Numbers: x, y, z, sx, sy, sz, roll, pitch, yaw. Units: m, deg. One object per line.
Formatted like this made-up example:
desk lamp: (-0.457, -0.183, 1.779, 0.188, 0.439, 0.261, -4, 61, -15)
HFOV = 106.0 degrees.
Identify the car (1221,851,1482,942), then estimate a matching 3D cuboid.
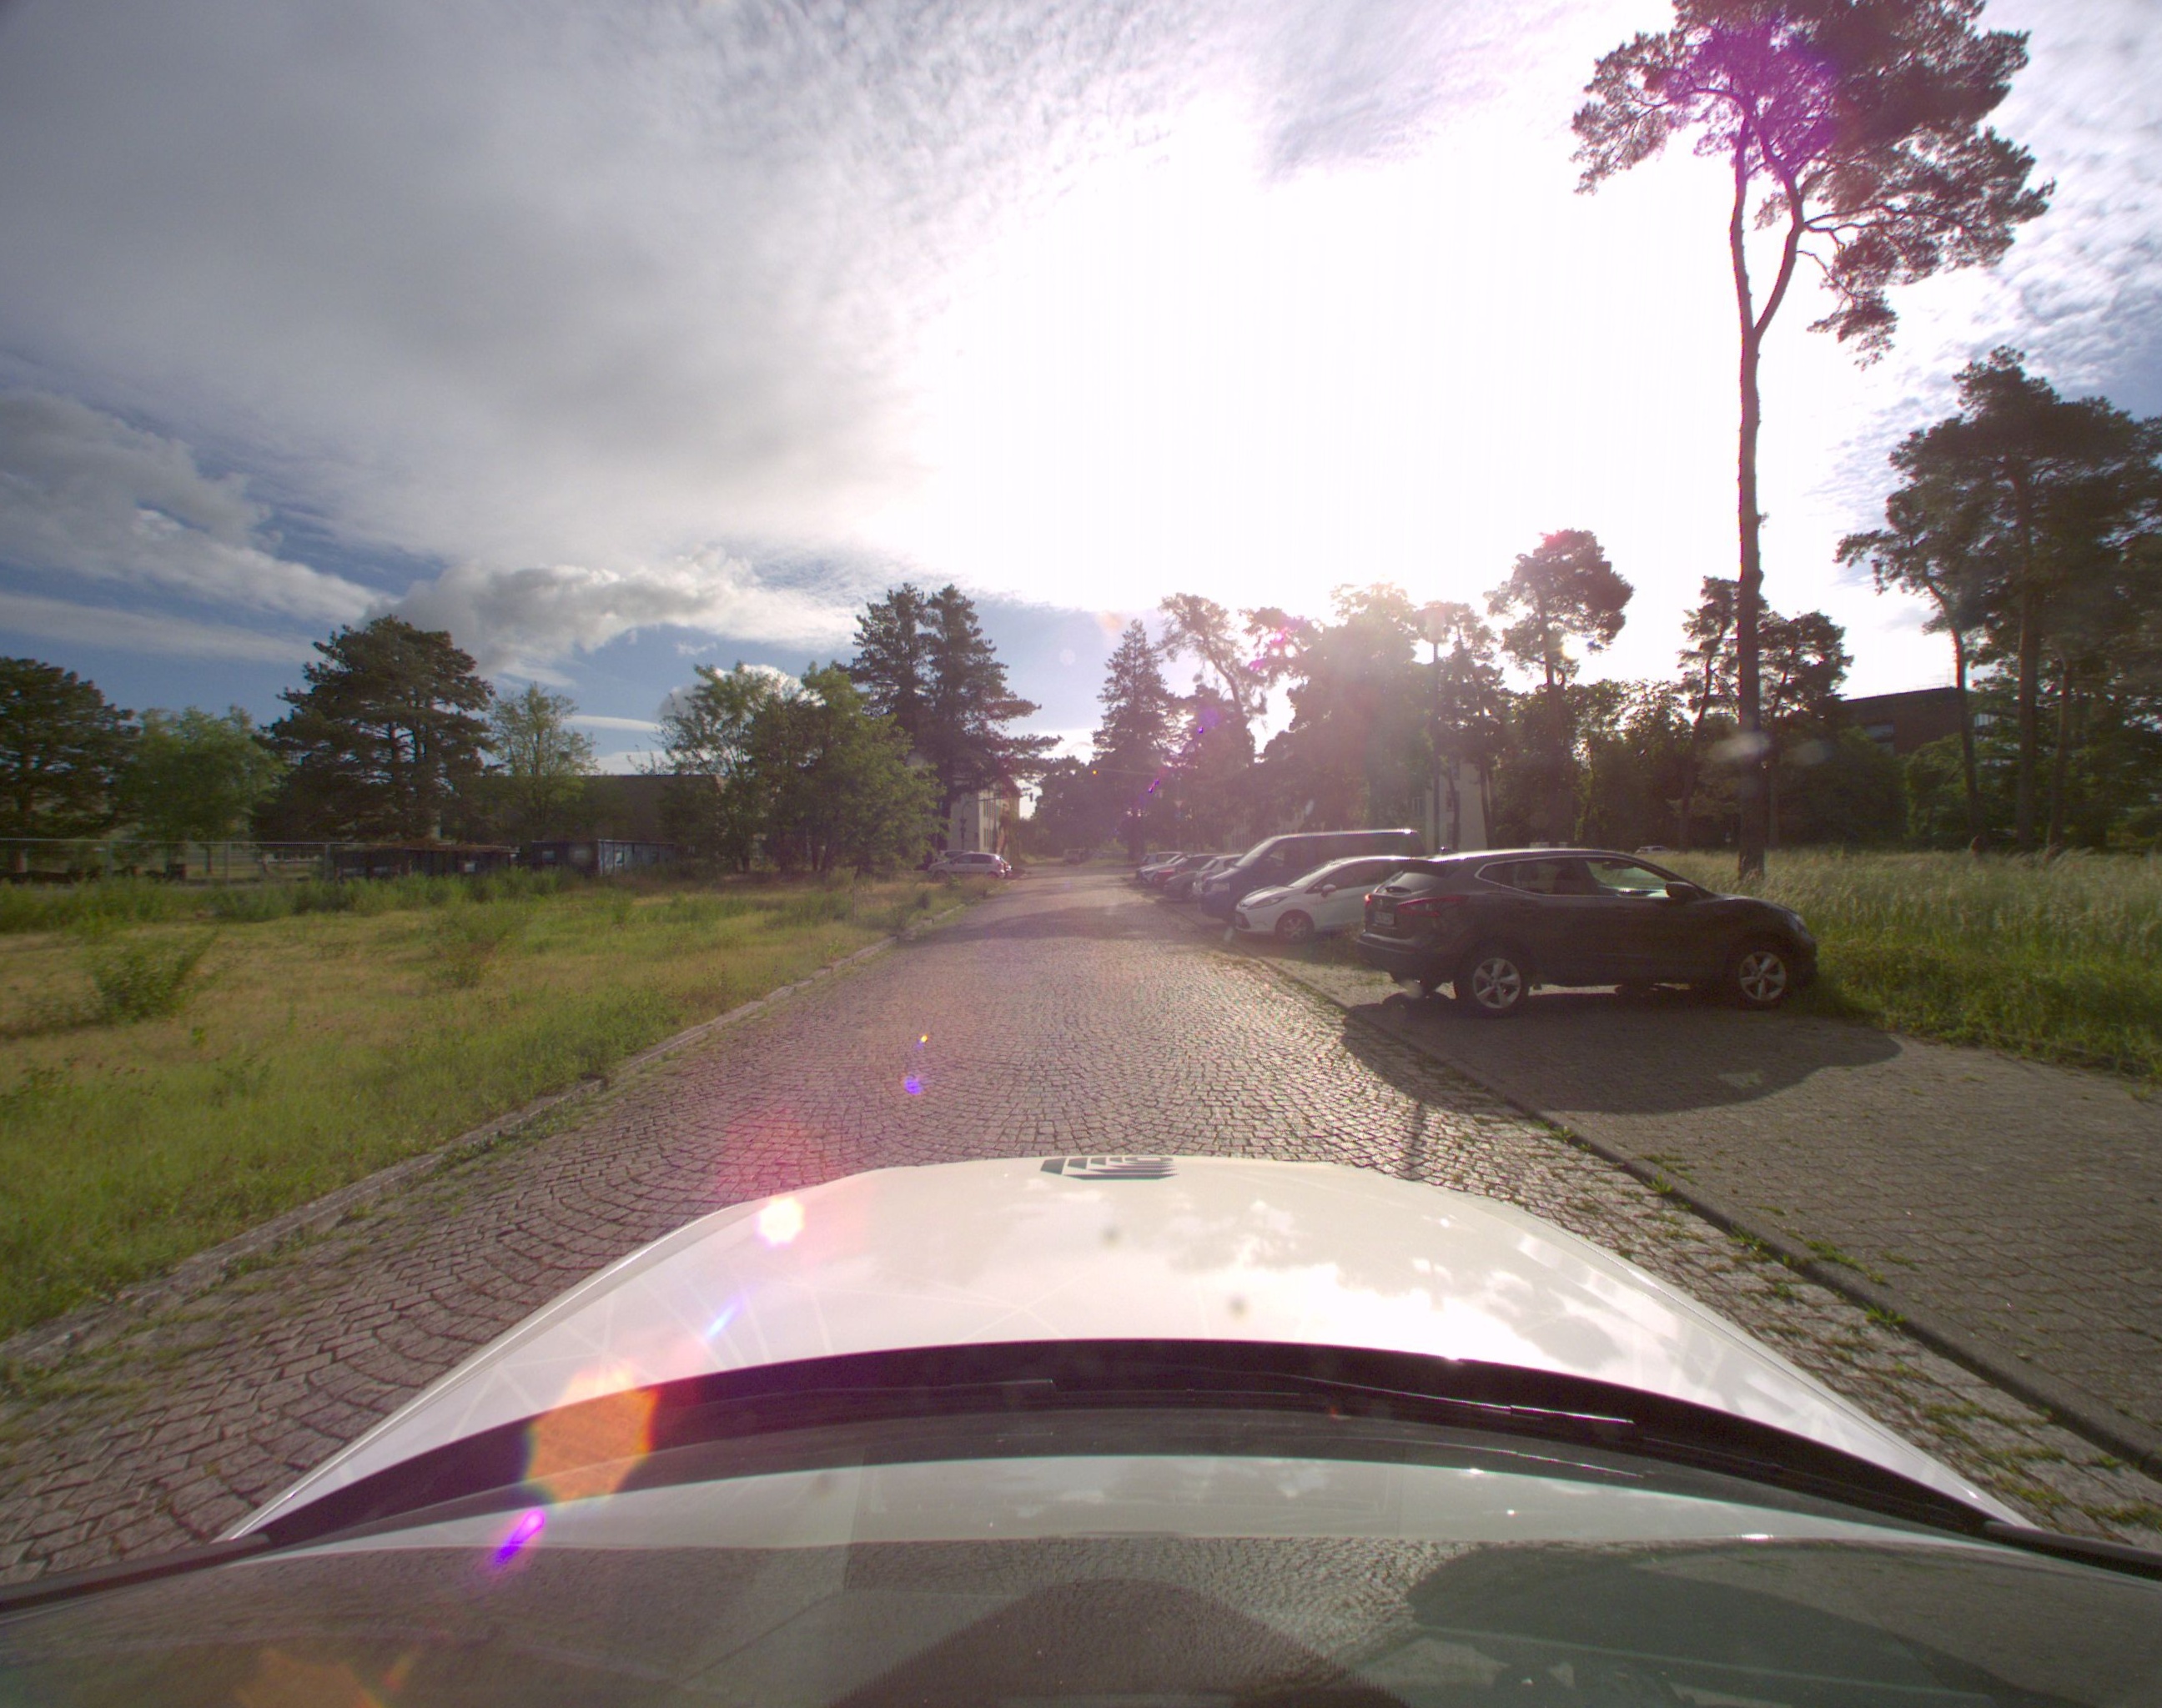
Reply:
car: (4.858, 0.734, 14.977, 4.183, 1.470, 1.805, -1, -1, -5)

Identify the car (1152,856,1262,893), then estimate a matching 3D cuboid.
car: (4.762, 0.770, 31.255, 3.939, 1.261, 1.726, -1, -1, -1)

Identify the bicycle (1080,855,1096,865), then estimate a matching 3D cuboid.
bicycle: (0.790, 0.673, 92.283, 1.788, 0.999, 0.644, -1, 1, -3)

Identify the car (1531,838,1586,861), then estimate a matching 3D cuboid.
car: (56.005, -0.512, 95.672, 5.141, 2.536, 2.264, 0, -1, 0)

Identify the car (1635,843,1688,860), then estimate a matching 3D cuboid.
car: (56.700, -0.220, 79.583, 3.923, 1.679, 1.854, 0, -1, -3)

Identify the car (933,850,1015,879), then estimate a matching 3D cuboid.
car: (-6.253, 0.598, 48.030, 4.577, 1.455, 1.901, 2, 1, -4)

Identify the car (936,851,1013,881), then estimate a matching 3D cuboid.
car: (-5.547, 0.632, 42.812, 3.818, 1.429, 1.857, 2, -1, -2)

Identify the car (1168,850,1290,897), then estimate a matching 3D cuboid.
car: (5.133, 0.670, 28.627, 3.939, 1.495, 1.771, -1, -1, -1)

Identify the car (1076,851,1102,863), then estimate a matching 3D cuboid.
car: (0.983, 0.382, 104.657, 3.036, 1.465, 1.712, 0, -1, -14)

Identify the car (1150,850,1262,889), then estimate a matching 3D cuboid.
car: (5.122, 0.645, 33.643, 4.329, 1.473, 1.739, -1, -1, -2)

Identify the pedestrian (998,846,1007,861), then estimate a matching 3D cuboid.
pedestrian: (-10.038, -0.034, 104.361, 0.982, 1.963, 0.932, 0, -1, -2)

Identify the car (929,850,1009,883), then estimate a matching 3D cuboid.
car: (-5.475, 0.612, 40.159, 3.674, 1.473, 1.848, 2, -1, -3)

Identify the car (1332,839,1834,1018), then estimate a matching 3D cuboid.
car: (5.052, 0.700, 8.627, 4.180, 1.589, 1.876, -1, -1, -2)

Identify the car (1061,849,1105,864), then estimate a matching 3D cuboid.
car: (0.267, 0.287, 108.205, 5.510, 1.916, 2.243, 0, -1, -15)

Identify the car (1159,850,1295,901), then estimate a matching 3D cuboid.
car: (4.531, 0.669, 25.689, 3.939, 1.467, 1.830, -1, -1, -1)

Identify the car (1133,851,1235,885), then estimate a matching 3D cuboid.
car: (4.829, 0.633, 38.684, 4.499, 1.473, 1.892, -1, -1, -5)

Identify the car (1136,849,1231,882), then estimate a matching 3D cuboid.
car: (5.146, 0.584, 41.317, 4.533, 1.505, 1.931, -1, -1, -3)

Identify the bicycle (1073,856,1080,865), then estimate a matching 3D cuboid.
bicycle: (-0.530, 0.691, 88.660, 0.726, 0.999, 1.798, -1, 1, -1)

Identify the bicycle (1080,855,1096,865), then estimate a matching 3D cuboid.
bicycle: (0.775, 0.682, 93.303, 1.788, 0.999, 0.644, -1, 1, -3)

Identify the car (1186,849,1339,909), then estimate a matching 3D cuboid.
car: (5.011, 0.669, 22.844, 3.863, 1.530, 1.807, -1, -1, -1)

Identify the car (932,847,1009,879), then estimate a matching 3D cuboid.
car: (-6.129, 0.510, 45.492, 4.115, 1.600, 1.855, 2, -1, -6)

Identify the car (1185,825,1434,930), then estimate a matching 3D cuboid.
car: (4.769, 0.481, 17.487, 4.720, 1.928, 1.991, -2, -1, -2)

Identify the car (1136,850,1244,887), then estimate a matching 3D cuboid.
car: (4.755, 0.637, 35.904, 4.494, 1.473, 1.848, -1, -1, -2)
